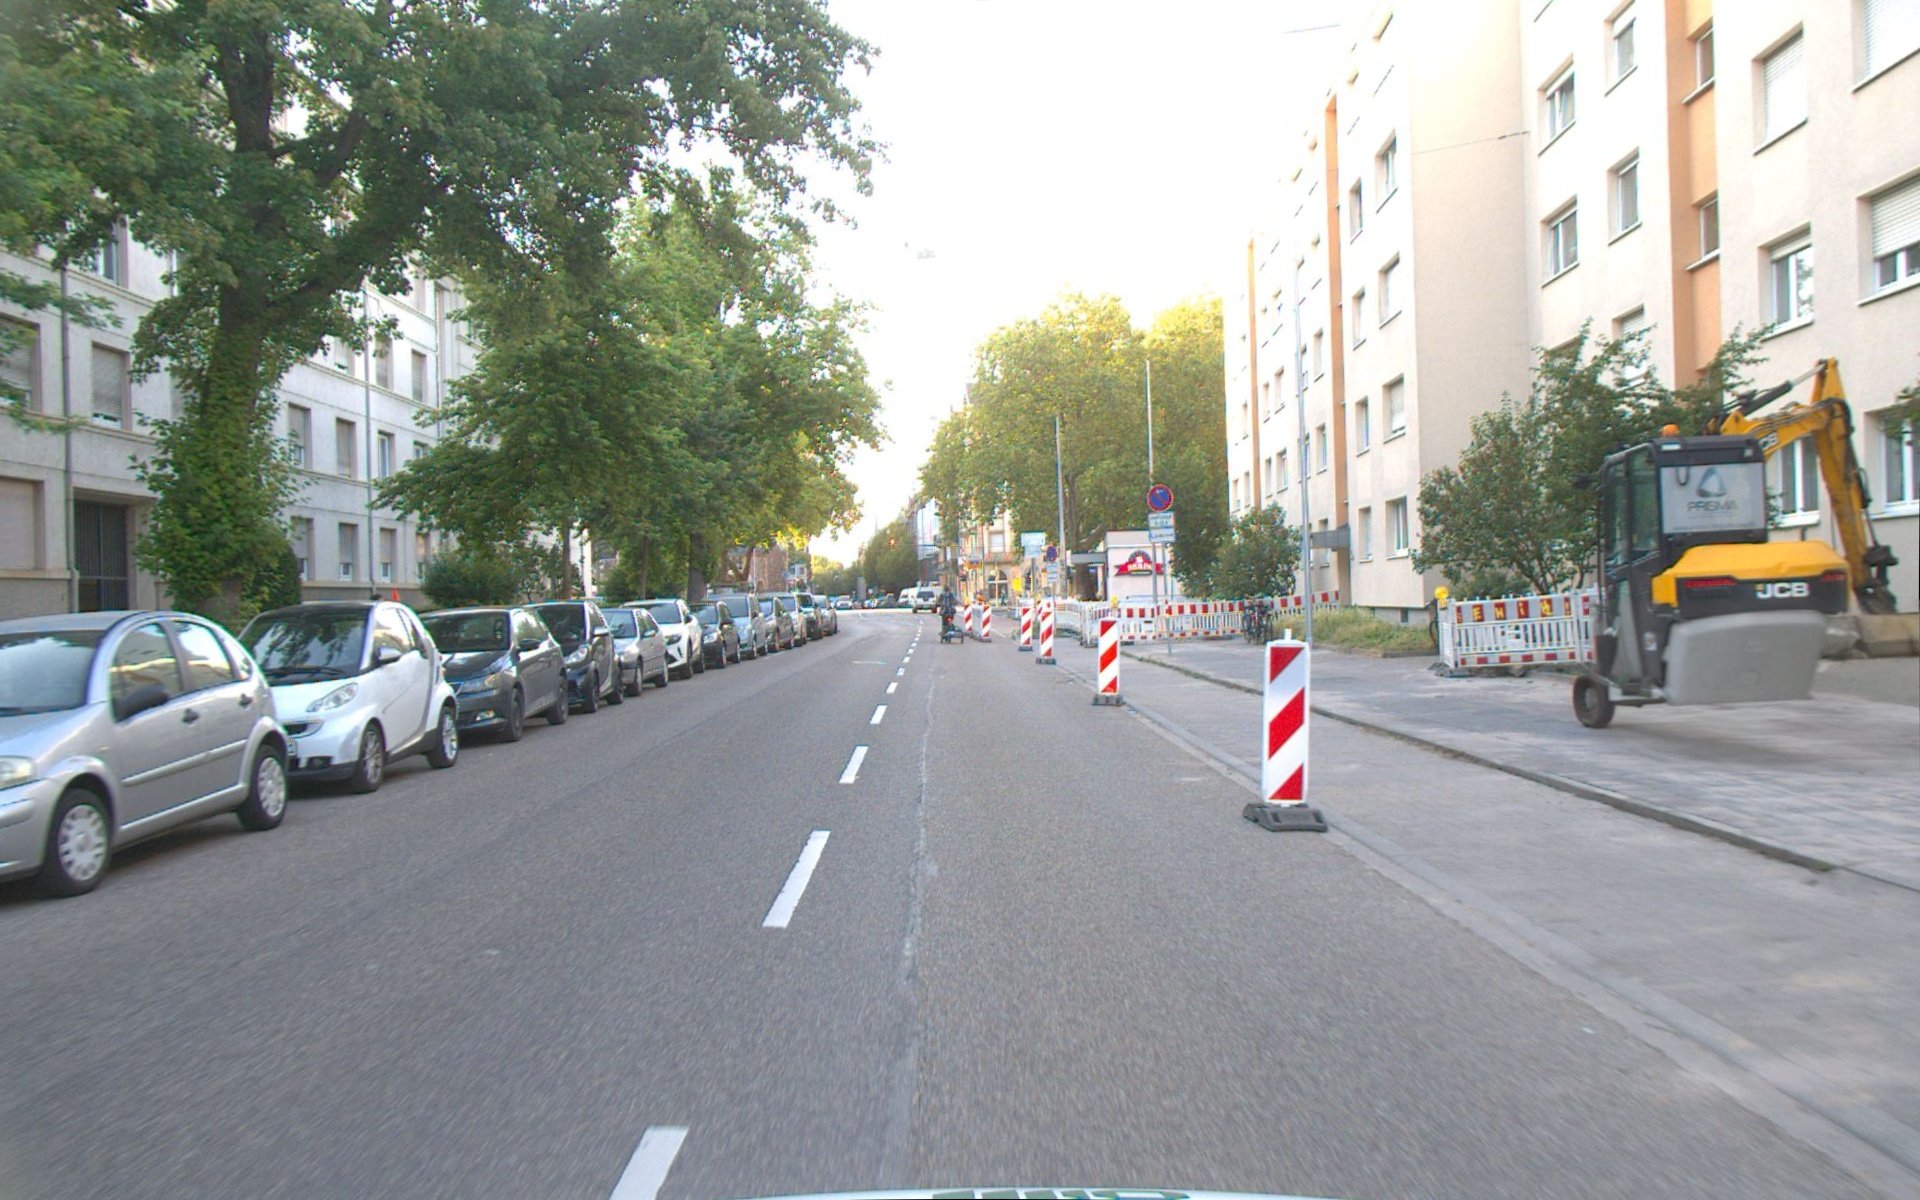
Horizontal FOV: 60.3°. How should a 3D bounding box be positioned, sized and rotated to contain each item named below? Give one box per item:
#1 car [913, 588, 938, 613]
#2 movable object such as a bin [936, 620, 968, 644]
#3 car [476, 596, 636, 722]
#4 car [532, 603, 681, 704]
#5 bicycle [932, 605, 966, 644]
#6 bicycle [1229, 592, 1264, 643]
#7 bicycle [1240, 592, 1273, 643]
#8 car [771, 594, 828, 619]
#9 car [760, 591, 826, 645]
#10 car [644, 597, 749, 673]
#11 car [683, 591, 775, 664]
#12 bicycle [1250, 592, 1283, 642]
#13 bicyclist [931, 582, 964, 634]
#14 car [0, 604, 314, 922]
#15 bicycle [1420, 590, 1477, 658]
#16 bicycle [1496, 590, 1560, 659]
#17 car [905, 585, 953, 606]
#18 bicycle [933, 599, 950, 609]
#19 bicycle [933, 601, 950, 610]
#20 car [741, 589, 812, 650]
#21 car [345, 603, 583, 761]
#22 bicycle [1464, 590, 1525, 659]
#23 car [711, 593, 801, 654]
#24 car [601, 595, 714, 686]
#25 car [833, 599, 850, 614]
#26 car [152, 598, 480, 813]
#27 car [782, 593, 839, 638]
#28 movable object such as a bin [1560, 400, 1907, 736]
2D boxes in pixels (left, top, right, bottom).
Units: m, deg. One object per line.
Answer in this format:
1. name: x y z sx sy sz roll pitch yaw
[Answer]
1. car: -2.721 0.062 131.071 1.829 1.846 3.998 -2 0 -2
2. movable object such as a bin: -0.268 1.007 52.295 0.920 0.701 0.993 -4 0 -3
3. car: -5.667 0.785 23.509 1.493 1.555 3.163 -5 0 -2
4. car: -5.818 0.824 27.673 1.558 1.428 4.180 -5 0 -1
5. bicycle: -0.363 0.788 53.975 0.920 1.192 2.357 -4 0 -3
6. bicycle: 7.245 0.430 41.923 0.442 1.243 1.910 -1 0 -3
7. bicycle: 7.513 0.429 42.019 0.390 1.243 1.910 -1 0 -3
8. car: -11.316 0.452 116.858 3.910 1.613 1.870 -2 0 -6
9. car: -5.924 0.611 59.213 1.914 1.748 4.769 -3 0 -2
10. car: -5.870 0.743 37.248 1.673 1.477 3.842 -5 0 0
11. car: -5.773 0.655 41.695 1.673 1.628 4.116 -5 0 -1
12. bicycle: 7.760 0.428 41.956 0.390 1.243 1.825 -1 0 -3
13. bicyclist: -0.401 0.266 54.006 0.920 1.609 1.145 -4 0 -3
14. car: -5.421 0.857 9.916 1.558 1.531 3.798 -5 0 -1
15. bicycle: 8.921 0.425 30.255 0.544 1.192 1.817 -1 0 2
16. bicycle: 10.227 0.421 29.831 0.544 1.192 1.817 -1 0 2
17. car: -3.591 -0.584 193.395 5.779 2.328 2.039 -2 0 -44
18. bicycle: -2.073 0.457 186.905 1.876 0.985 0.545 -1 0 -3
19. bicycle: -2.049 0.574 187.184 1.876 0.985 0.545 -1 0 -3
20. car: -5.715 0.589 51.962 1.810 1.720 4.856 -3 0 -3
21. car: -5.566 0.845 19.056 1.559 1.491 4.100 -5 0 -3
22. bicycle: 9.638 0.422 29.870 0.544 1.192 1.817 -1 0 2
23. car: -5.686 0.621 46.501 1.696 1.523 4.272 -3 0 3
24. car: -5.943 0.764 32.879 1.559 1.565 4.204 -5 0 -3
25. car: -14.162 0.789 197.665 1.748 1.680 3.813 0 0 -9
26. car: -5.460 0.826 14.392 1.557 1.555 2.922 -5 0 1
27. car: -6.025 0.592 67.050 1.914 1.645 4.604 -3 0 -1
28. movable object such as a bin: 6.937 -0.265 15.170 1.893 2.740 2.893 -2 0 4
